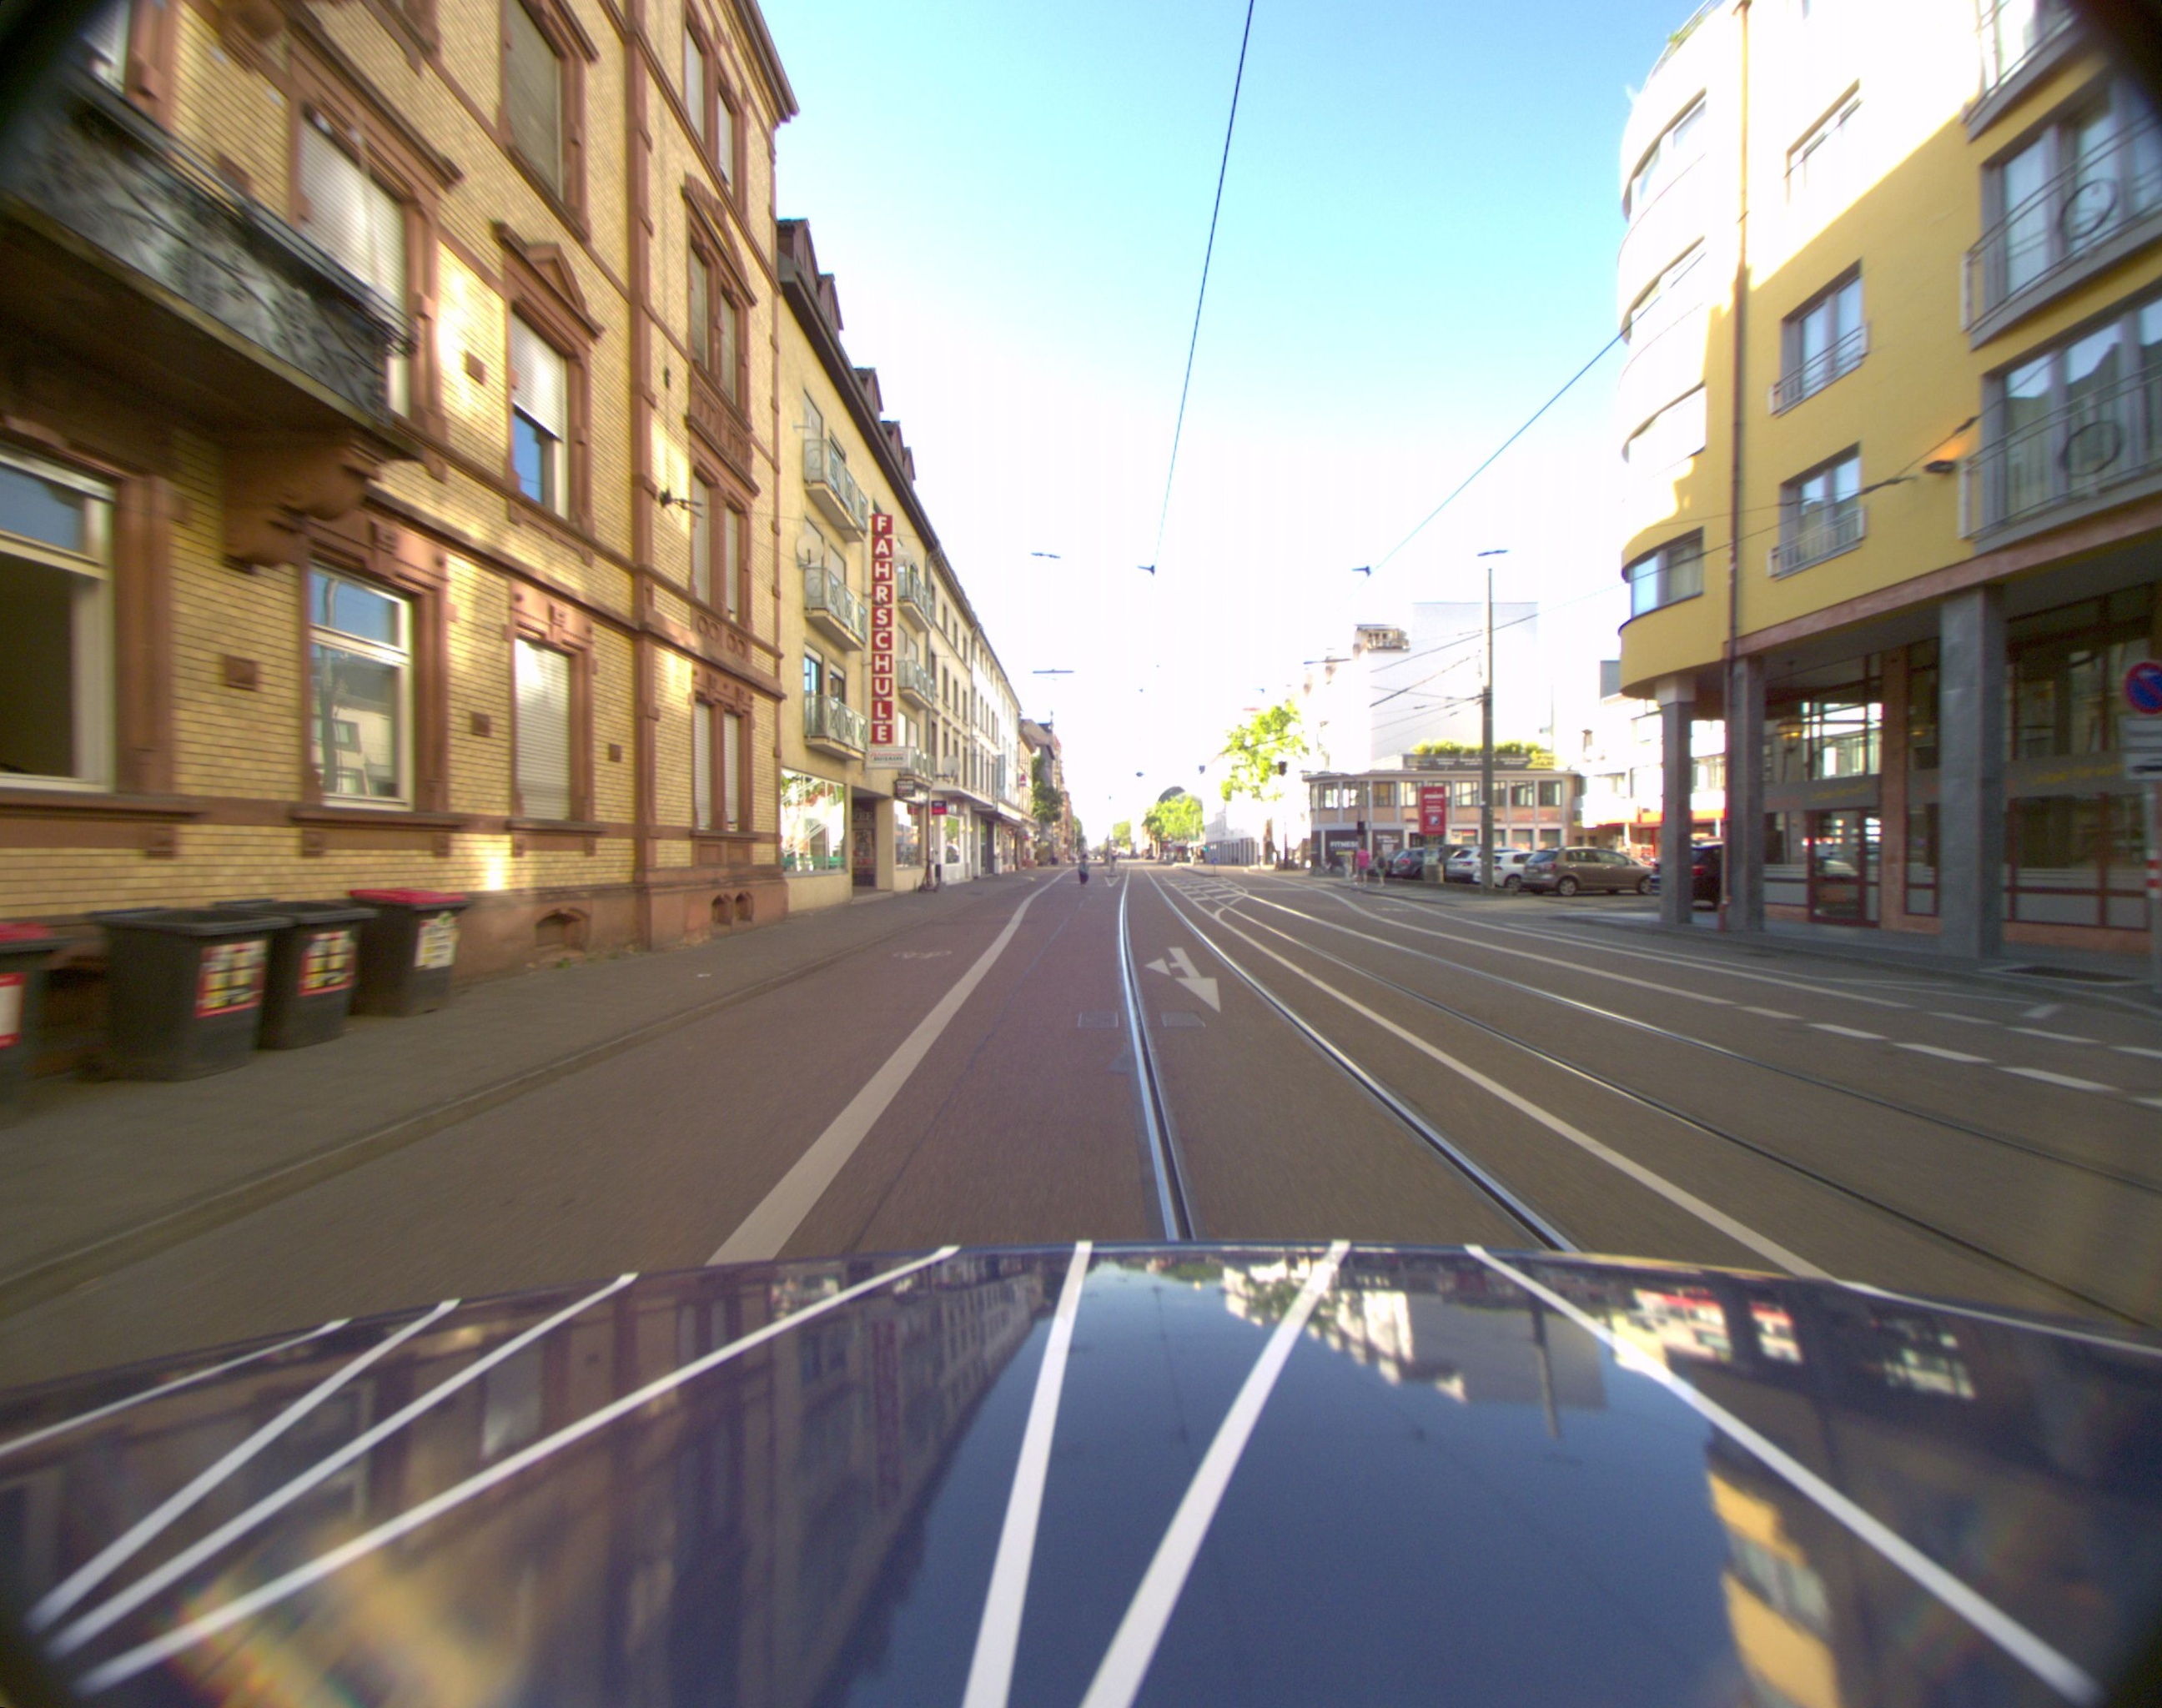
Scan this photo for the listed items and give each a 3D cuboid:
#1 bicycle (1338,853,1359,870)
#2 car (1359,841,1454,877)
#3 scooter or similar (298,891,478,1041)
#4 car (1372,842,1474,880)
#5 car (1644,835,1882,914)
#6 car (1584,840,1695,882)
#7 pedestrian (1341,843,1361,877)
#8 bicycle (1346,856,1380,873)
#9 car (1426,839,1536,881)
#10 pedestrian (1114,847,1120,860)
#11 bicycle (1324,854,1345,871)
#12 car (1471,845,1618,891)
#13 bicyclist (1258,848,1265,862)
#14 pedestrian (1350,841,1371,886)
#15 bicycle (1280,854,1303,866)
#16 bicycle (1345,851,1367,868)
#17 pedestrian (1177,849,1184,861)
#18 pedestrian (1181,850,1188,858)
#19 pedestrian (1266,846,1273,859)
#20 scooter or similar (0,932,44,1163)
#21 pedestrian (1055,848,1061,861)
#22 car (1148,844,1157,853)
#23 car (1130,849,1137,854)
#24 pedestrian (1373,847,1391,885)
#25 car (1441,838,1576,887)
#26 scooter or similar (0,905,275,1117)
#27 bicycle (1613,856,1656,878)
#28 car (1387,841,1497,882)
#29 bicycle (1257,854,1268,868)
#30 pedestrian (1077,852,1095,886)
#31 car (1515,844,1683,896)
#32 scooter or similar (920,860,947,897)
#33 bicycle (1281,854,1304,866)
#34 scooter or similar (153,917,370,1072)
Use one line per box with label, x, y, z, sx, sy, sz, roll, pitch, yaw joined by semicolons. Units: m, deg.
bicycle;16.615;0.462;47.251;0.464;1.073;1.878;0;0;-6
car;17.148;0.262;40.197;4.244;1.753;1.785;-1;1;1
scooter or similar;-6.003;0.943;6.633;0.792;1.142;0.790;4;1;-1
car;16.935;0.323;37.759;4.244;1.801;1.785;0;1;1
car;16.890;0.485;18.990;4.243;1.801;1.785;1;1;1
car;24.166;0.275;32.944;3.587;1.738;1.695;0;1;-1
pedestrian;14.112;0.307;39.664;0.715;1.754;0.779;-1;1;-6
bicycle;16.958;0.624;45.660;1.874;1.030;0.426;0;1;26
car;16.970;0.243;32.359;3.698;1.663;1.785;-1;1;1
pedestrian;4.678;-0.036;99.178;0.716;1.635;0.400;0;1;4
bicycle;15.931;0.518;47.797;0.525;1.030;1.878;0;0;-6
car;16.670;0.486;27.483;4.243;1.600;1.785;0;1;1
bicyclist;18.219;0.103;76.832;0.563;1.355;0.719;2;9;25
pedestrian;12.237;0.406;33.282;0.639;1.935;0.709;0;1;0
bicycle;18.353;0.531;66.172;1.876;1.071;0.465;0;1;9
bicycle;17.131;0.317;47.370;0.464;1.030;1.878;0;0;-6
pedestrian;13.091;0.118;100.059;0.794;1.635;0.747;0;1;2
pedestrian;14.153;-0.013;104.117;0.794;0.982;0.747;0;1;2
pedestrian;23.787;-0.218;96.039;0.747;1.635;0.731;0;1;2
scooter or similar;-5.872;0.960;3.673;0.899;1.142;0.547;4;1;-1
pedestrian;-2.979;0.031;97.626;0.695;1.680;0.688;4;1;1
car;18.056;-1.382;192.537;1.884;2.001;4.000;-2;-1;0
car;16.403;-0.844;237.175;1.998;1.608;4.000;-1;0;2
pedestrian;13.122;0.514;33.150;0.573;1.608;0.499;0;1;0
car;16.659;0.298;29.758;4.244;1.802;1.784;1;3;1
scooter or similar;-5.906;0.943;4.772;0.935;1.142;0.650;4;1;-1
bicycle;26.184;0.614;35.993;0.511;1.008;2.062;0;1;-1
car;16.609;0.323;35.106;4.243;1.801;1.785;0;1;2
bicycle;18.385;0.725;76.932;0.564;1.117;2.005;-12;1;25
pedestrian;0.219;0.678;34.951;0.781;1.551;0.650;-1;1;-4
car;16.811;0.490;24.822;4.244;1.539;1.785;-1;1;1
scooter or similar;-5.315;0.881;27.456;0.410;1.274;1.285;1;1;17
bicycle;18.537;0.529;66.653;1.876;1.071;0.465;0;1;9
scooter or similar;-5.923;0.992;5.534;0.792;0.952;0.680;4;1;-1
